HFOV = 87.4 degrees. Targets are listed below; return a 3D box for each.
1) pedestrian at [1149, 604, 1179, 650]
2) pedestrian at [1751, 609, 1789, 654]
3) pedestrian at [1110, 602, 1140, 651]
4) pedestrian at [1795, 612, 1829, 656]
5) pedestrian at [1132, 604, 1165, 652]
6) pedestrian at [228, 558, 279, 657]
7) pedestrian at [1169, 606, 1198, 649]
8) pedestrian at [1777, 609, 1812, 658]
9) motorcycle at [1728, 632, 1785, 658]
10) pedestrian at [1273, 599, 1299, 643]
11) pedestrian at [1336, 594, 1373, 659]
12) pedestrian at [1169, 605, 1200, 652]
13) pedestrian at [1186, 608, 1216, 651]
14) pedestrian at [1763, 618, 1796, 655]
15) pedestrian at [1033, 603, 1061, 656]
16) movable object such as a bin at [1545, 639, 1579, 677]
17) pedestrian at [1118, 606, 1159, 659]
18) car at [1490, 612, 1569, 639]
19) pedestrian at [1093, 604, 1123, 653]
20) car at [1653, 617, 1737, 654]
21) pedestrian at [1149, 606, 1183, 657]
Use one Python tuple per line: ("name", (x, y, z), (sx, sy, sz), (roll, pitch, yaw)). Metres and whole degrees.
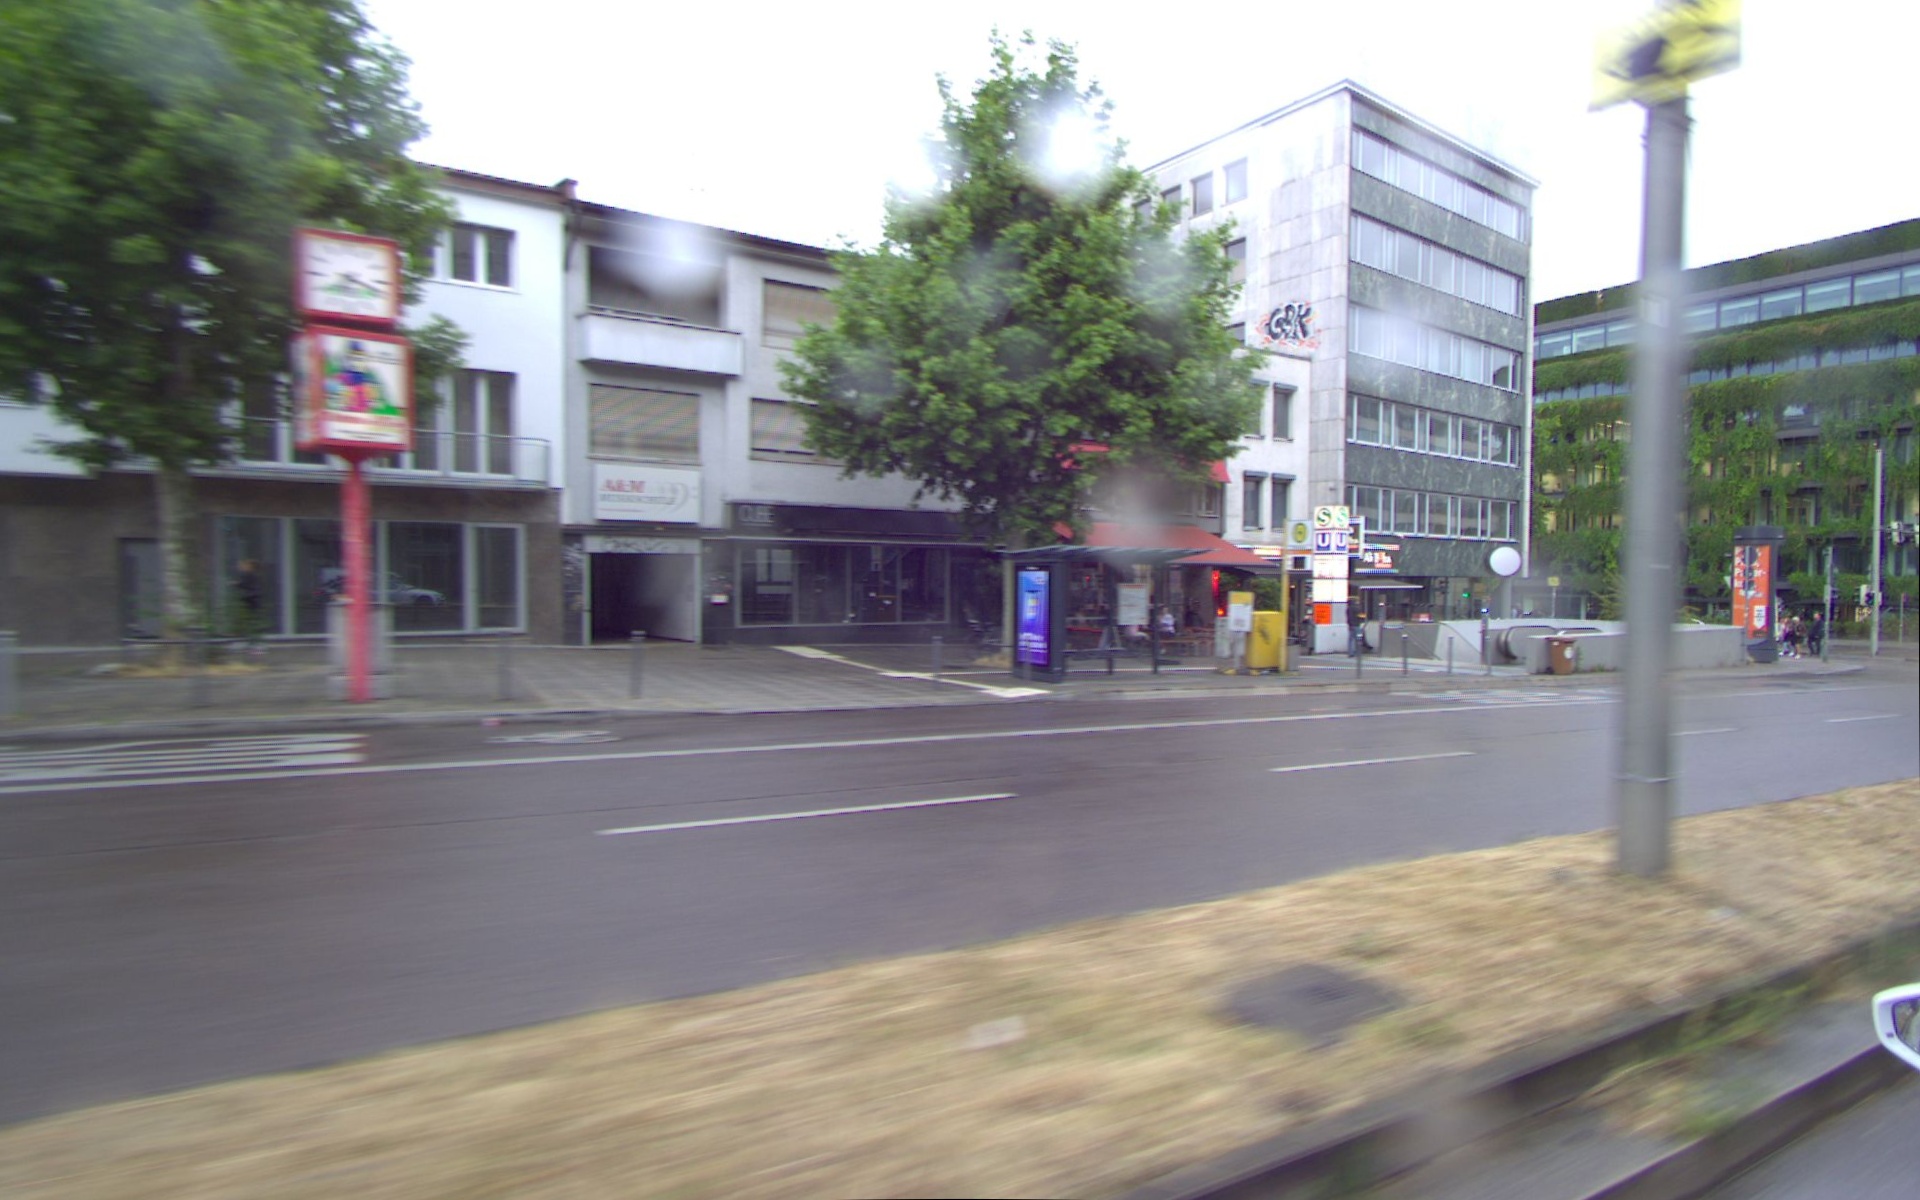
("pedestrian", (6.655, 0.890, 32.738), (0.685, 1.470, 0.628), (1, 0, -36))
("pedestrian", (35.156, 1.382, 43.601), (0.868, 1.878, 1.015), (1, -4, -34))
("pedestrian", (5.055, 0.806, 30.834), (0.577, 1.470, 0.685), (1, 0, -33))
("pedestrian", (37.052, 1.481, 43.683), (0.887, 1.909, 0.781), (0, -4, -29))
("pedestrian", (5.901, 0.862, 31.435), (0.685, 1.470, 0.721), (1, 0, -36))
("pedestrian", (-13.010, 0.141, 18.513), (0.644, 1.786, 0.693), (1, 0, -28))
("pedestrian", (7.402, 0.908, 33.233), (0.685, 1.374, 0.628), (1, 0, -36))
("pedestrian", (32.867, 1.322, 39.571), (0.858, 1.909, 0.800), (1, -4, -36))
("motorcycle", (40.775, 2.279, 51.415), (2.204, 1.227, 0.843), (1, 0, 45))
("pedestrian", (11.159, 0.721, 34.338), (0.582, 1.470, 0.598), (1, 0, -35))
("pedestrian", (11.724, 0.779, 29.827), (0.750, 1.910, 0.685), (1, 0, -34))
("pedestrian", (7.150, 0.889, 31.991), (0.685, 1.470, 0.628), (1, 0, -36))
("pedestrian", (7.805, 0.960, 32.557), (0.685, 1.362, 0.628), (1, 0, -36))
("pedestrian", (36.358, 1.619, 44.568), (0.912, 1.606, 0.827), (1, -4, -31))
("pedestrian", (2.664, 0.895, 30.710), (0.600, 1.591, 0.591), (1, 0, -40))
("movable object such as a bin", (14.806, 1.410, 24.715), (0.677, 0.909, 0.527), (1, -2, -39))
("pedestrian", (5.126, 0.928, 28.820), (0.905, 1.470, 0.685), (1, 0, -34))
("car", (35.172, 1.548, 62.061), (1.858, 1.543, 3.856), (1, 0, -42))
("pedestrian", (4.495, 0.865, 30.532), (0.541, 1.470, 0.685), (1, 0, -34))
("car", (40.656, 1.930, 55.619), (1.985, 1.948, 3.417), (1, 0, -42))
("pedestrian", (6.040, 0.914, 29.465), (0.700, 1.470, 0.685), (1, 0, -34))
